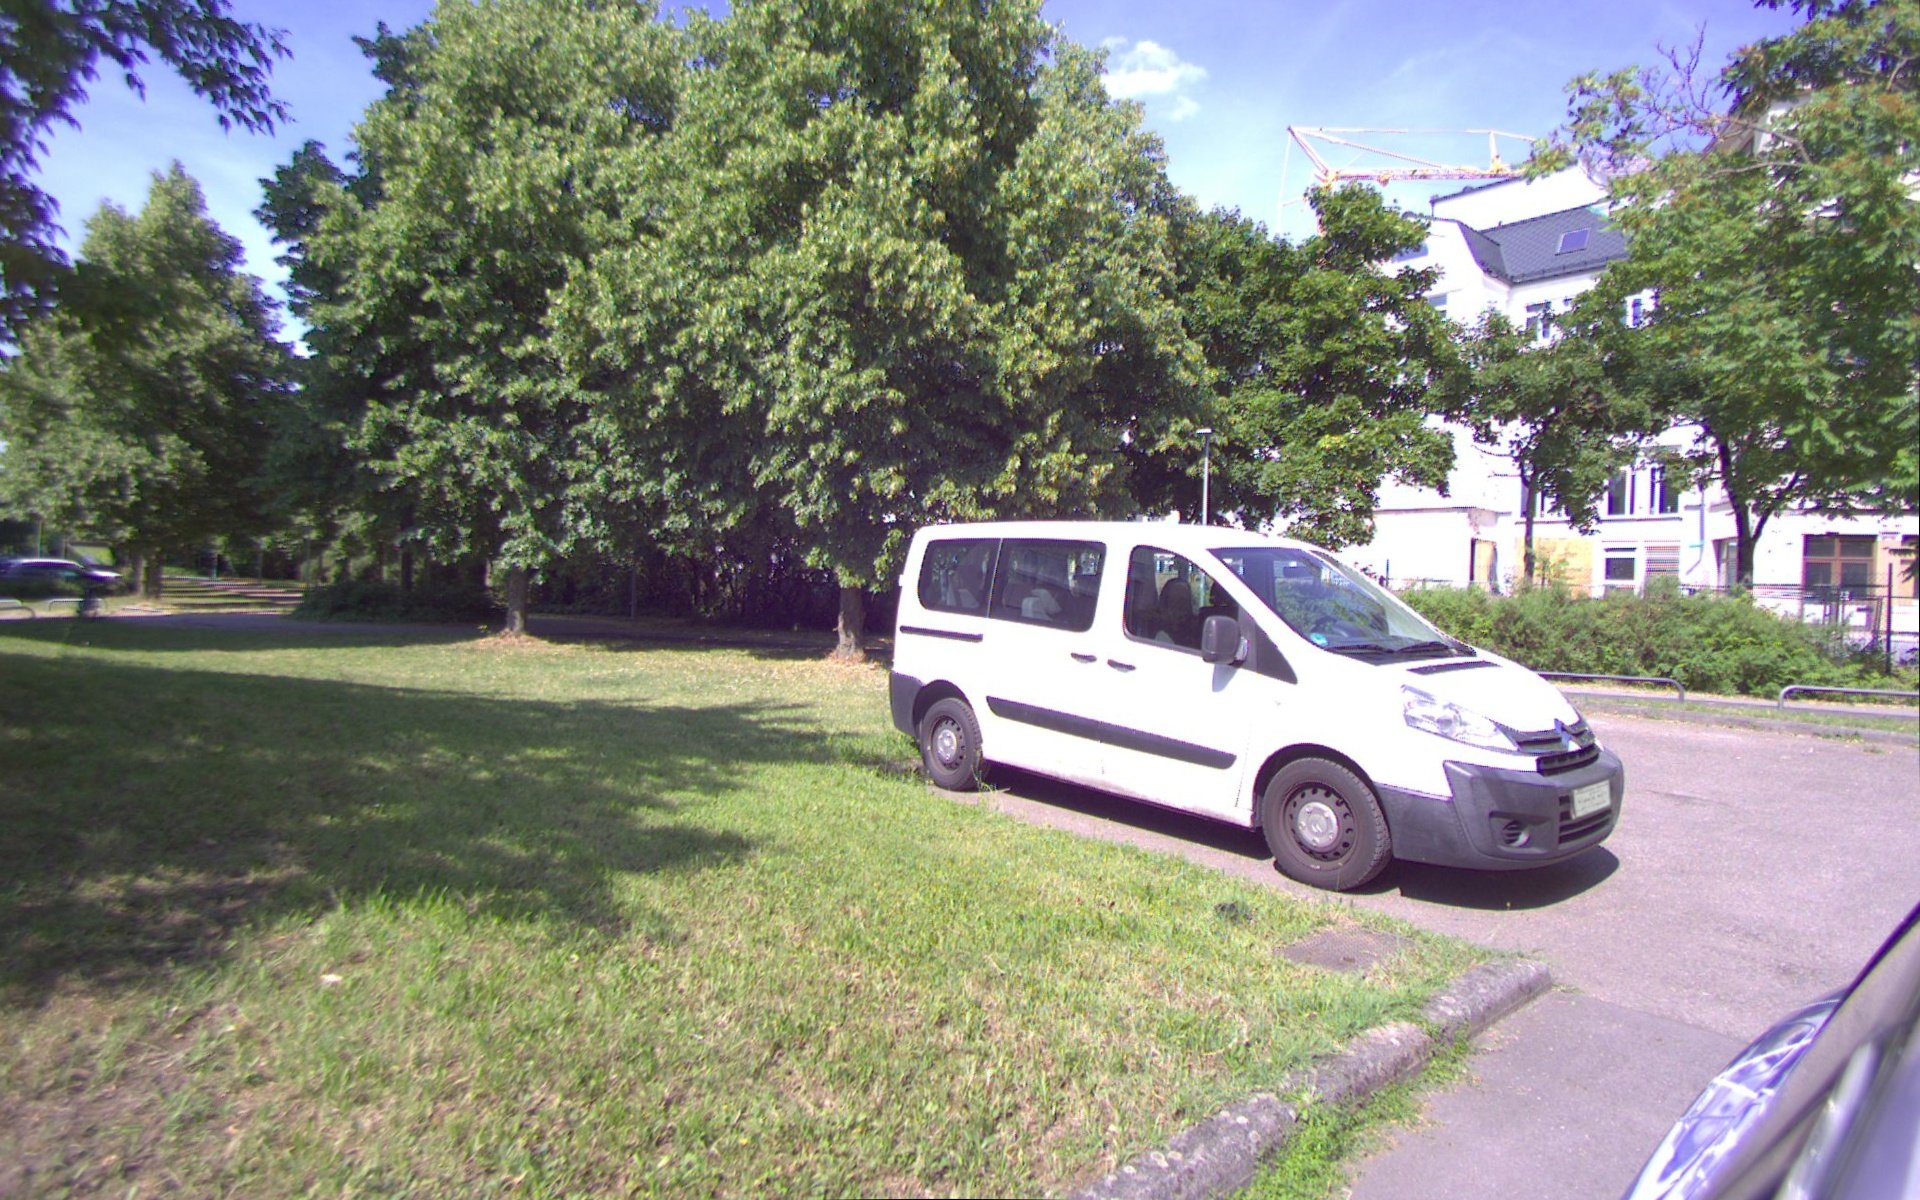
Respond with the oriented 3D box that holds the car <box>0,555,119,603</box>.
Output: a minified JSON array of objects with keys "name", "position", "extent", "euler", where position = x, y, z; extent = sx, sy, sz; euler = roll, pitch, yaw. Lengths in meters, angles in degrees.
[{"name":"car","position":[-35.218,-0.807,38.950],"extent":[4.289,1.660,1.999],"euler":[2,1,-39]}]

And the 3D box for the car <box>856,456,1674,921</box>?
[{"name":"car","position":[1.529,0.316,6.846],"extent":[1.964,1.957,5.036],"euler":[2,1,-39]}]

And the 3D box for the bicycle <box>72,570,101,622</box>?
[{"name":"bicycle","position":[-18.536,-0.101,21.469],"extent":[0.388,1.062,1.446],"euler":[2,0,-43]}]

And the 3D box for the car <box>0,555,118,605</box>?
[{"name":"car","position":[-33.704,-0.739,37.007],"extent":[4.357,1.660,1.999],"euler":[2,1,-39]}]
